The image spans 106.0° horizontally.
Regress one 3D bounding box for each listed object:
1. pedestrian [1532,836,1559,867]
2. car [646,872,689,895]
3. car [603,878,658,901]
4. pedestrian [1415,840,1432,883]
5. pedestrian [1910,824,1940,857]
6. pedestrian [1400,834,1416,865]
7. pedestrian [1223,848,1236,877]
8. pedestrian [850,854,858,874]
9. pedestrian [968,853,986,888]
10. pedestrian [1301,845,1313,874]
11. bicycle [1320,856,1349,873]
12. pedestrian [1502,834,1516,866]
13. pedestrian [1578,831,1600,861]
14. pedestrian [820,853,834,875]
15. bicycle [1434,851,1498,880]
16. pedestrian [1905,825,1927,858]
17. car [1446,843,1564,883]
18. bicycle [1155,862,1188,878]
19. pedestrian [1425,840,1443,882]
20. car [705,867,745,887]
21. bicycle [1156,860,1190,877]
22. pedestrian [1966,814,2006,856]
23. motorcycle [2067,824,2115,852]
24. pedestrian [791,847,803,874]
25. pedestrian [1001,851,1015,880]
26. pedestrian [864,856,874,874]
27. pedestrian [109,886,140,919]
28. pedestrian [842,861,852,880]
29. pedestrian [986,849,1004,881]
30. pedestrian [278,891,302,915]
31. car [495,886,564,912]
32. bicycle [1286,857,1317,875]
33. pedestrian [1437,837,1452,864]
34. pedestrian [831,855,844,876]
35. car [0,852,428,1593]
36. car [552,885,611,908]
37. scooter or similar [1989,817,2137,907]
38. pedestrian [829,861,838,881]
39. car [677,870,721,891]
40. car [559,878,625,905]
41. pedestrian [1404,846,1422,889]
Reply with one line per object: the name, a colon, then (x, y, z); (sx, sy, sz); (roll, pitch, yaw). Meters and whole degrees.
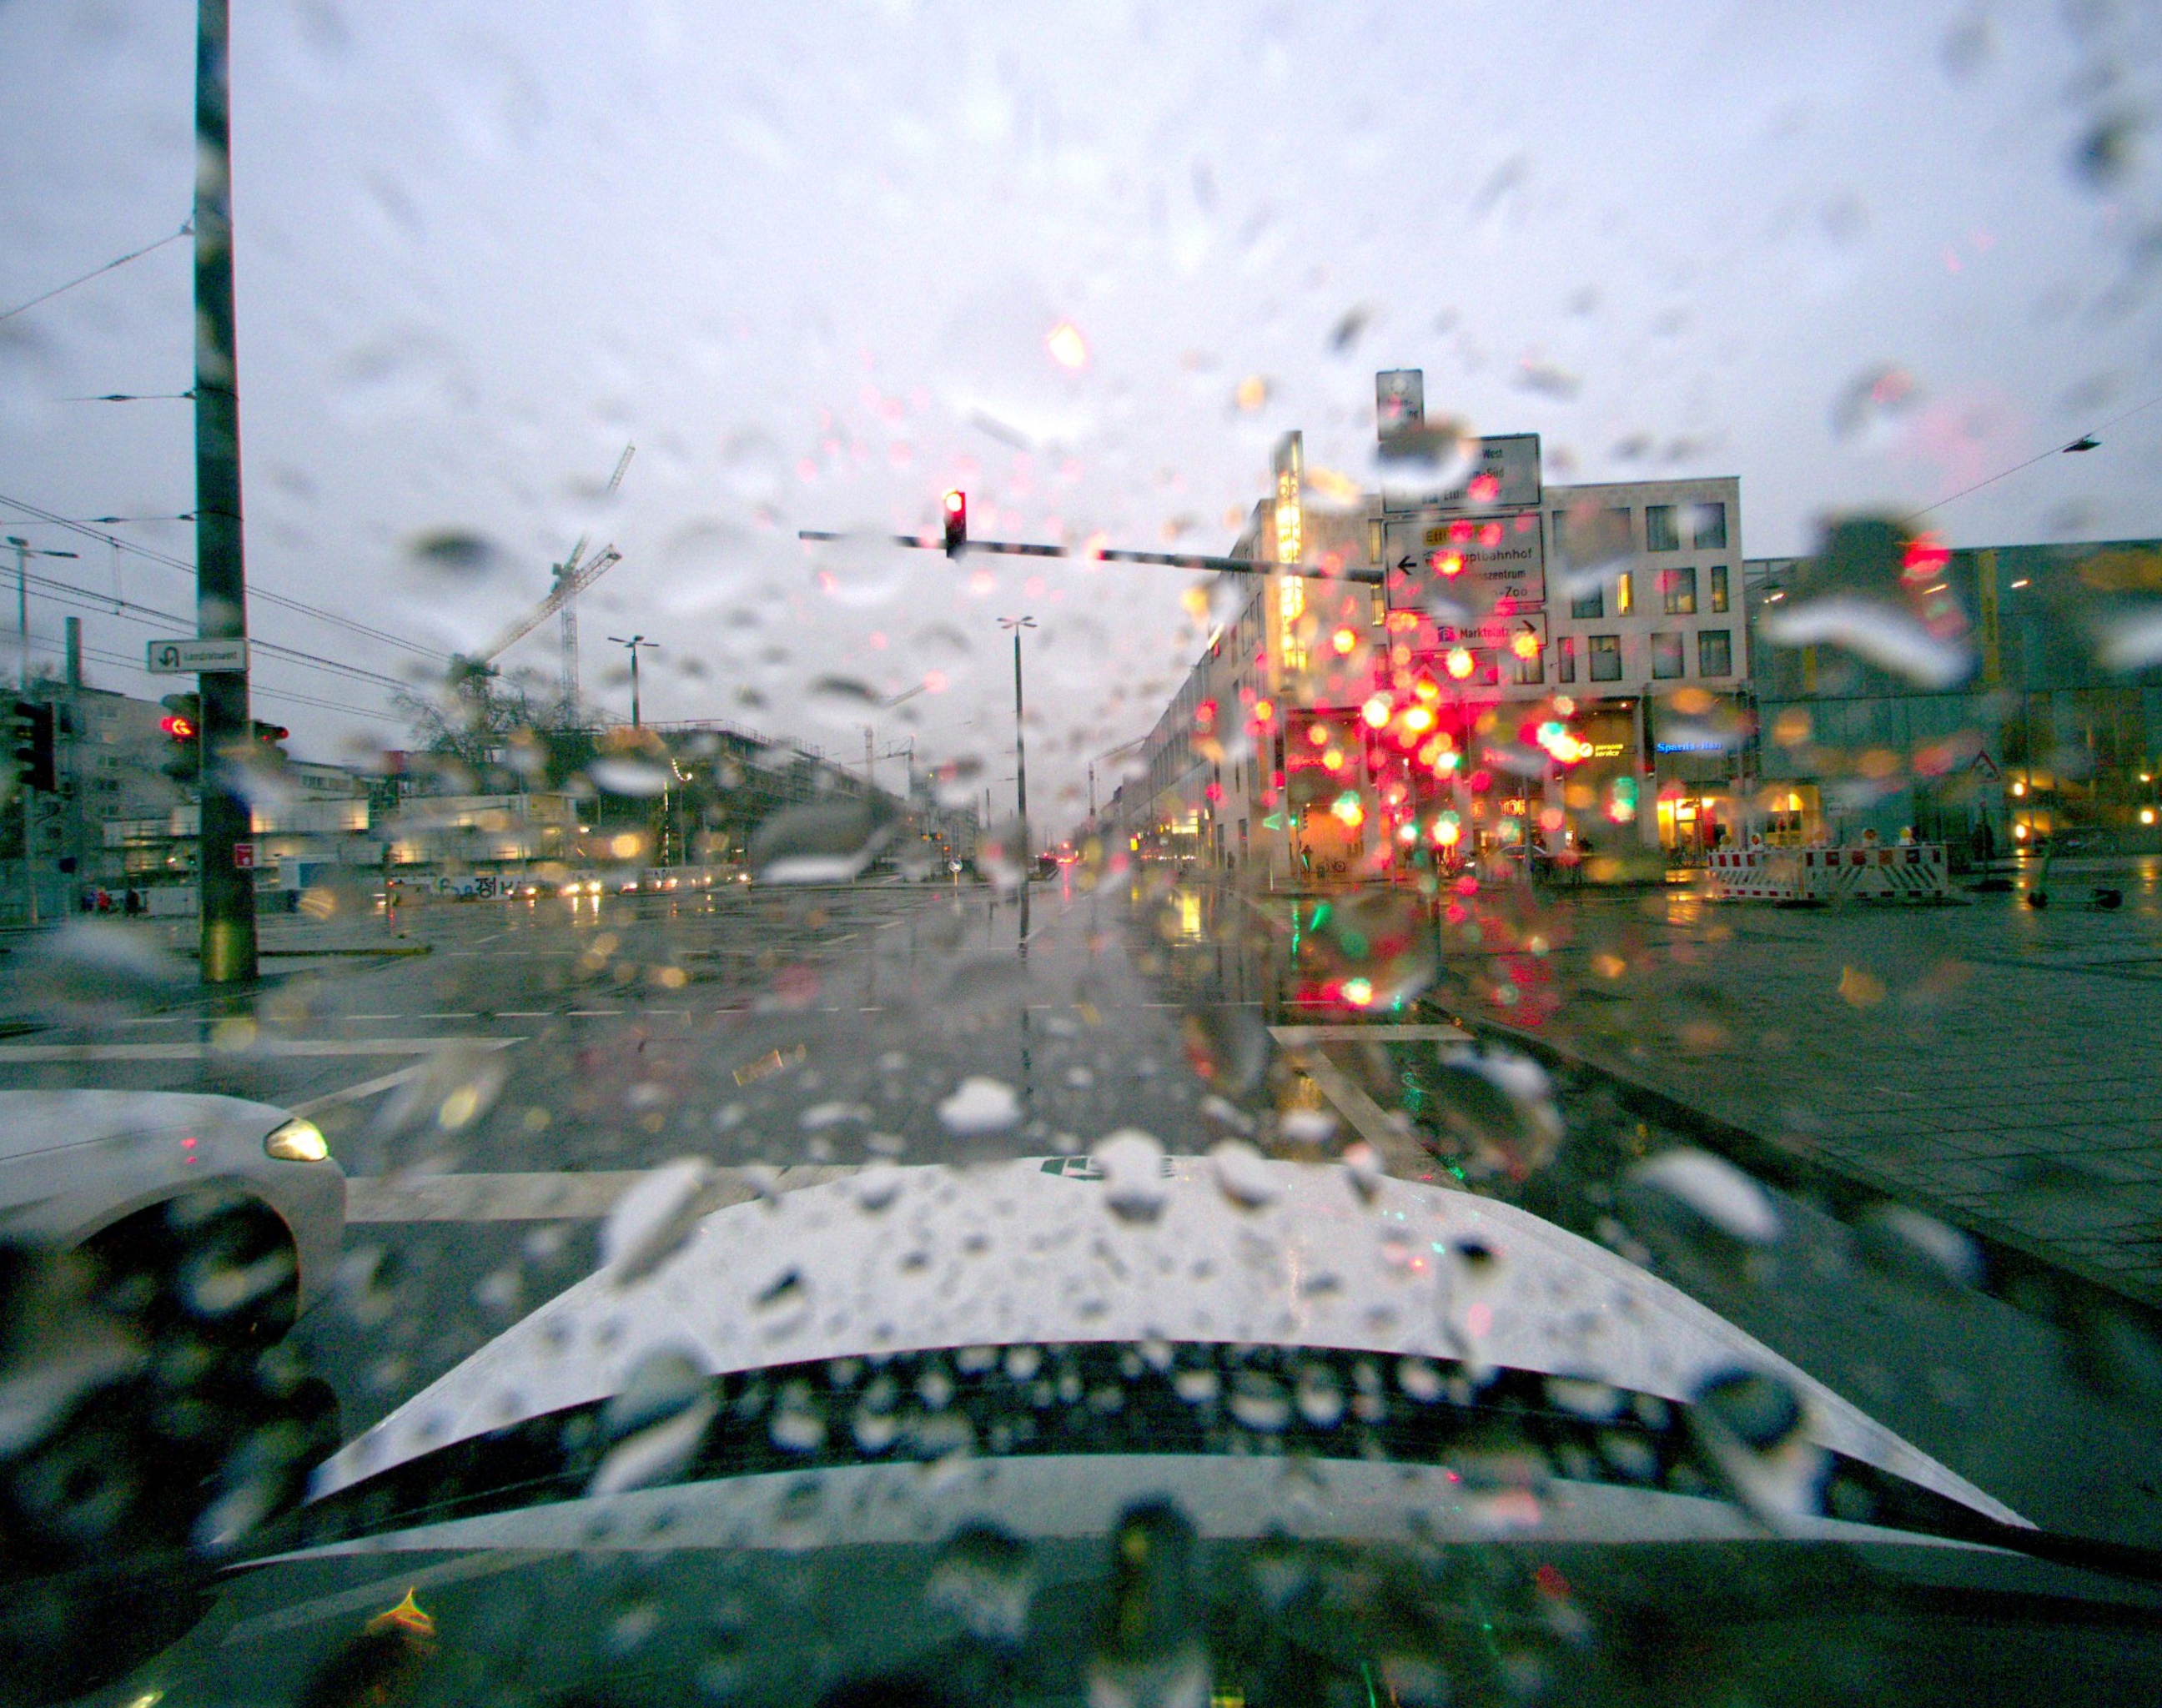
pedestrian: (25.960, -0.143, 45.542); (1.026, 1.684, 0.824); (0, -1, 1)
car: (-34.748, 2.455, 68.585); (1.862, 1.828, 3.993); (0, -1, -5)
car: (-34.274, 2.648, 62.070); (2.074, 1.530, 4.603); (-2, 0, -7)
pedestrian: (19.898, 0.441, 47.289); (0.687, 2.441, 0.758); (0, -1, 1)
pedestrian: (44.645, -0.699, 43.080); (0.737, 1.684, 0.783); (-1, -1, 8)
pedestrian: (21.650, -0.280, 53.928); (0.841, 2.013, 0.700); (-2, 0, 10)
pedestrian: (8.931, 0.523, 48.910); (0.634, 1.709, 0.574); (-2, -1, 1)
pedestrian: (-22.746, 0.990, 81.513); (0.569, 1.968, 0.664); (1, -1, -4)
pedestrian: (-6.090, 0.960, 47.683); (0.776, 2.014, 0.732); (-1, -1, 44)
pedestrian: (13.760, 0.357, 49.591); (0.596, 1.745, 0.526); (-1, -1, 10)
bicycle: (15.714, 0.658, 50.585); (1.642, 1.070, 0.524); (0, -1, -2)
pedestrian: (24.610, -0.215, 46.803); (0.549, 1.826, 0.361); (-2, -1, 2)
pedestrian: (29.373, -0.431, 47.084); (0.890, 1.684, 0.528); (-2, -1, 1)
pedestrian: (-23.863, 0.935, 76.616); (0.938, 2.014, 1.094); (0, -1, 2)
bicycle: (19.254, 0.582, 40.775); (2.705, 1.359, 0.957); (-2, -1, -2)
pedestrian: (42.325, -0.618, 41.286); (0.539, 1.684, 0.583); (-1, -1, 8)
car: (17.929, 0.371, 34.564); (3.970, 1.618, 2.001); (0, -1, 3)
bicycle: (6.926, 1.202, 62.381); (2.417, 1.099, 0.712); (-2, -1, 0)
pedestrian: (20.615, 0.409, 47.530); (0.691, 2.448, 0.792); (0, -1, 1)
car: (-34.976, 2.233, 80.100); (1.985, 1.790, 4.004); (0, -1, 4)
bicycle: (6.940, 1.106, 61.578); (2.434, 1.154, 0.674); (-2, -1, 0)
pedestrian: (36.496, -0.753, 32.839); (0.737, 1.684, 0.783); (-1, -1, 8)
motorcycle: (48.251, -0.754, 38.911); (1.482, 1.352, 0.595); (0, 0, 5)
pedestrian: (-24.232, 0.555, 69.531); (0.762, 2.323, 0.763); (0, -2, 1)
pedestrian: (-4.333, 0.691, 48.251); (0.605, 1.686, 0.581); (-1, -1, 44)
pedestrian: (-23.975, 1.258, 92.107); (0.941, 2.014, 1.091); (0, -1, -8)
pedestrian: (-58.825, 2.983, 50.098); (0.921, 1.934, 0.816); (0, -1, -5)
pedestrian: (-23.092, 1.658, 80.509); (0.762, 1.898, 0.763); (0, -2, 1)
pedestrian: (-4.949, 0.617, 46.785); (0.826, 1.831, 0.778); (0, -1, -29)
pedestrian: (-48.519, 2.993, 49.929); (0.725, 1.388, 0.725); (-2, -1, 4)
car: (-38.394, 3.122, 56.836); (1.986, 1.530, 4.001); (-2, 0, 2)
bicycle: (13.658, 0.741, 50.499); (1.765, 1.070, 0.523); (0, -1, -7)
pedestrian: (23.099, -0.213, 51.718); (0.728, 1.718, 0.743); (-3, -1, 29)
pedestrian: (-23.683, 1.151, 79.153); (0.939, 2.014, 1.094); (0, -1, 0)
car: (-3.222, 0.770, 0.403); (2.010, 1.487, 4.561); (-2, 0, 1)
car: (-38.983, 3.306, 63.648); (1.986, 1.530, 4.001); (-2, 0, 2)
scooter or similar: (15.672, 0.111, 13.052); (0.590, 1.352, 1.495); (0, 0, 2)
pedestrian: (-23.639, 1.625, 77.806); (0.696, 1.881, 0.553); (0, -1, 1)
car: (-34.909, 2.401, 74.544); (1.985, 1.790, 4.004); (0, -1, 4)
car: (-33.675, 2.540, 56.189); (1.986, 1.657, 4.001); (-2, 0, 2)
pedestrian: (19.093, 0.762, 46.853); (0.712, 2.441, 0.758); (0, -1, 1)
